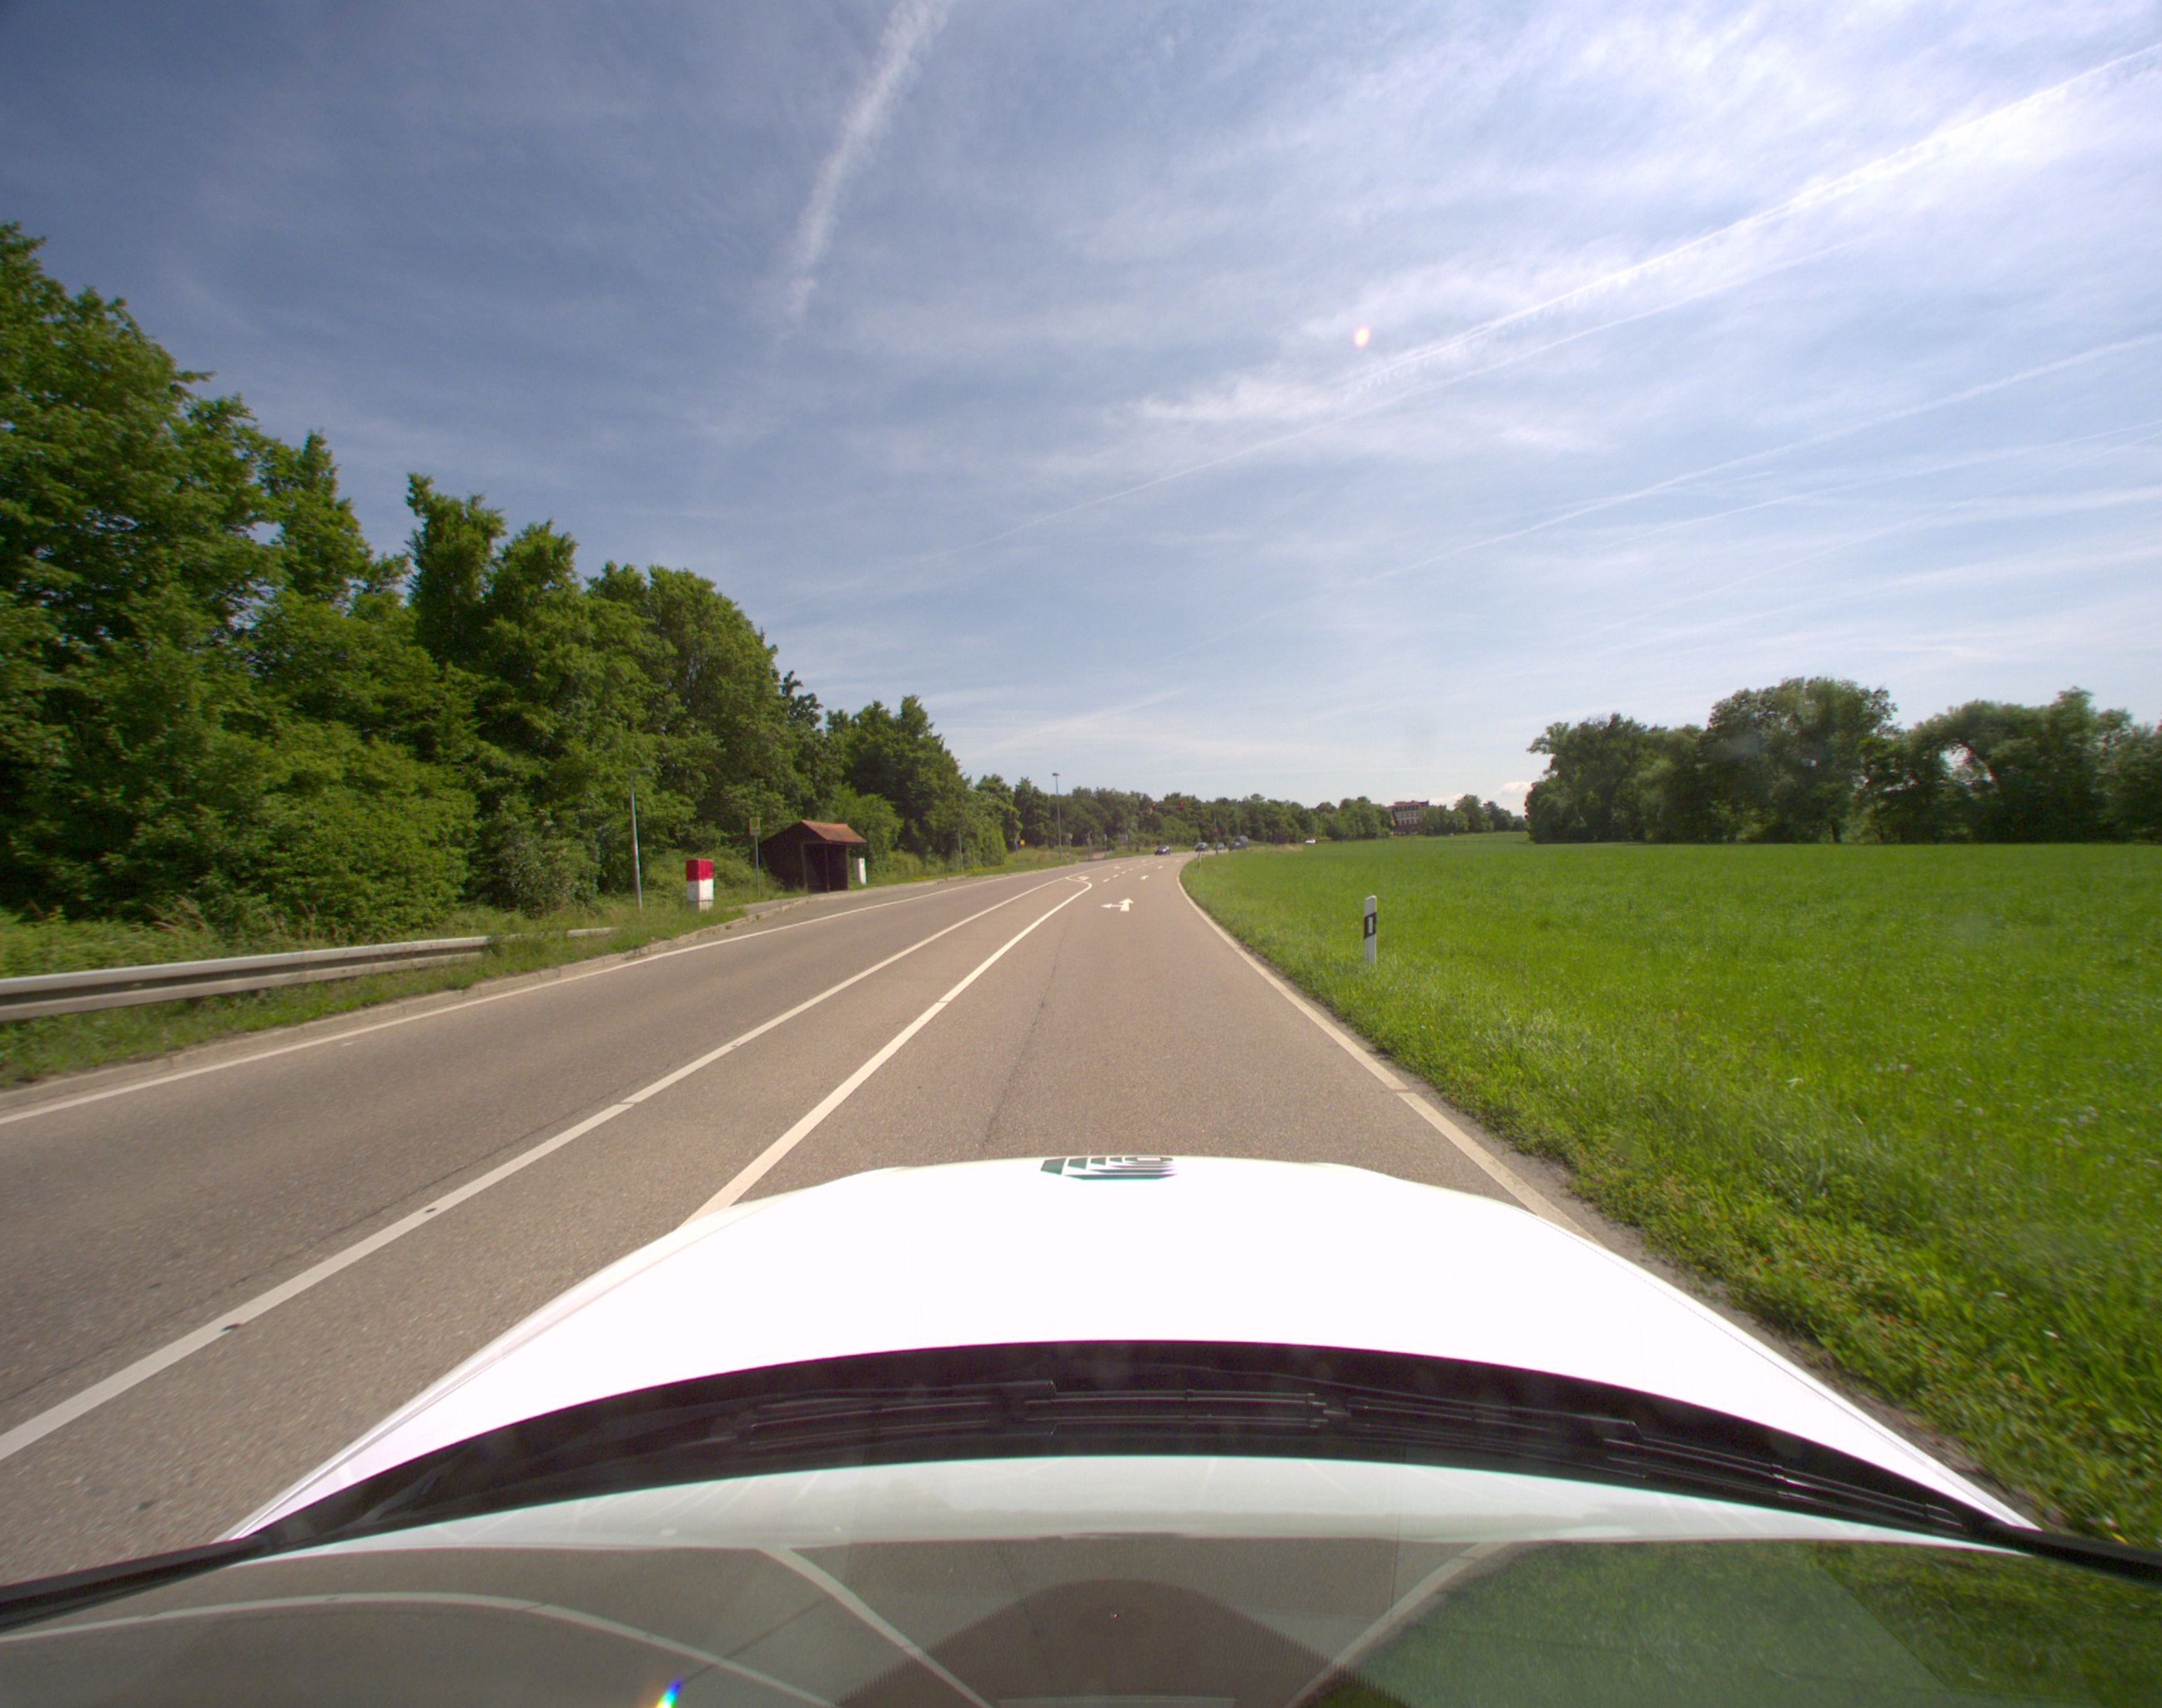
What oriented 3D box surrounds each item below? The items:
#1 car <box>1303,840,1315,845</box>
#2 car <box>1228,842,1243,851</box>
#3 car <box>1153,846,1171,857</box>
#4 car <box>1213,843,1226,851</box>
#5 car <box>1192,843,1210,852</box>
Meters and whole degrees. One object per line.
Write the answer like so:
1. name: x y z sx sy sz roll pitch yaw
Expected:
1. car: 65.684 -3.337 234.402 1.918 1.548 4.657 -2 0 35
2. car: 28.141 -1.441 148.279 1.976 1.574 4.022 -2 0 23
3. car: 12.282 -0.403 123.247 1.777 1.474 4.331 -2 0 18
4. car: 28.245 -1.437 166.005 1.692 1.483 3.853 -2 0 23
5. car: 22.086 -1.220 149.640 1.956 1.562 4.214 -2 0 26
